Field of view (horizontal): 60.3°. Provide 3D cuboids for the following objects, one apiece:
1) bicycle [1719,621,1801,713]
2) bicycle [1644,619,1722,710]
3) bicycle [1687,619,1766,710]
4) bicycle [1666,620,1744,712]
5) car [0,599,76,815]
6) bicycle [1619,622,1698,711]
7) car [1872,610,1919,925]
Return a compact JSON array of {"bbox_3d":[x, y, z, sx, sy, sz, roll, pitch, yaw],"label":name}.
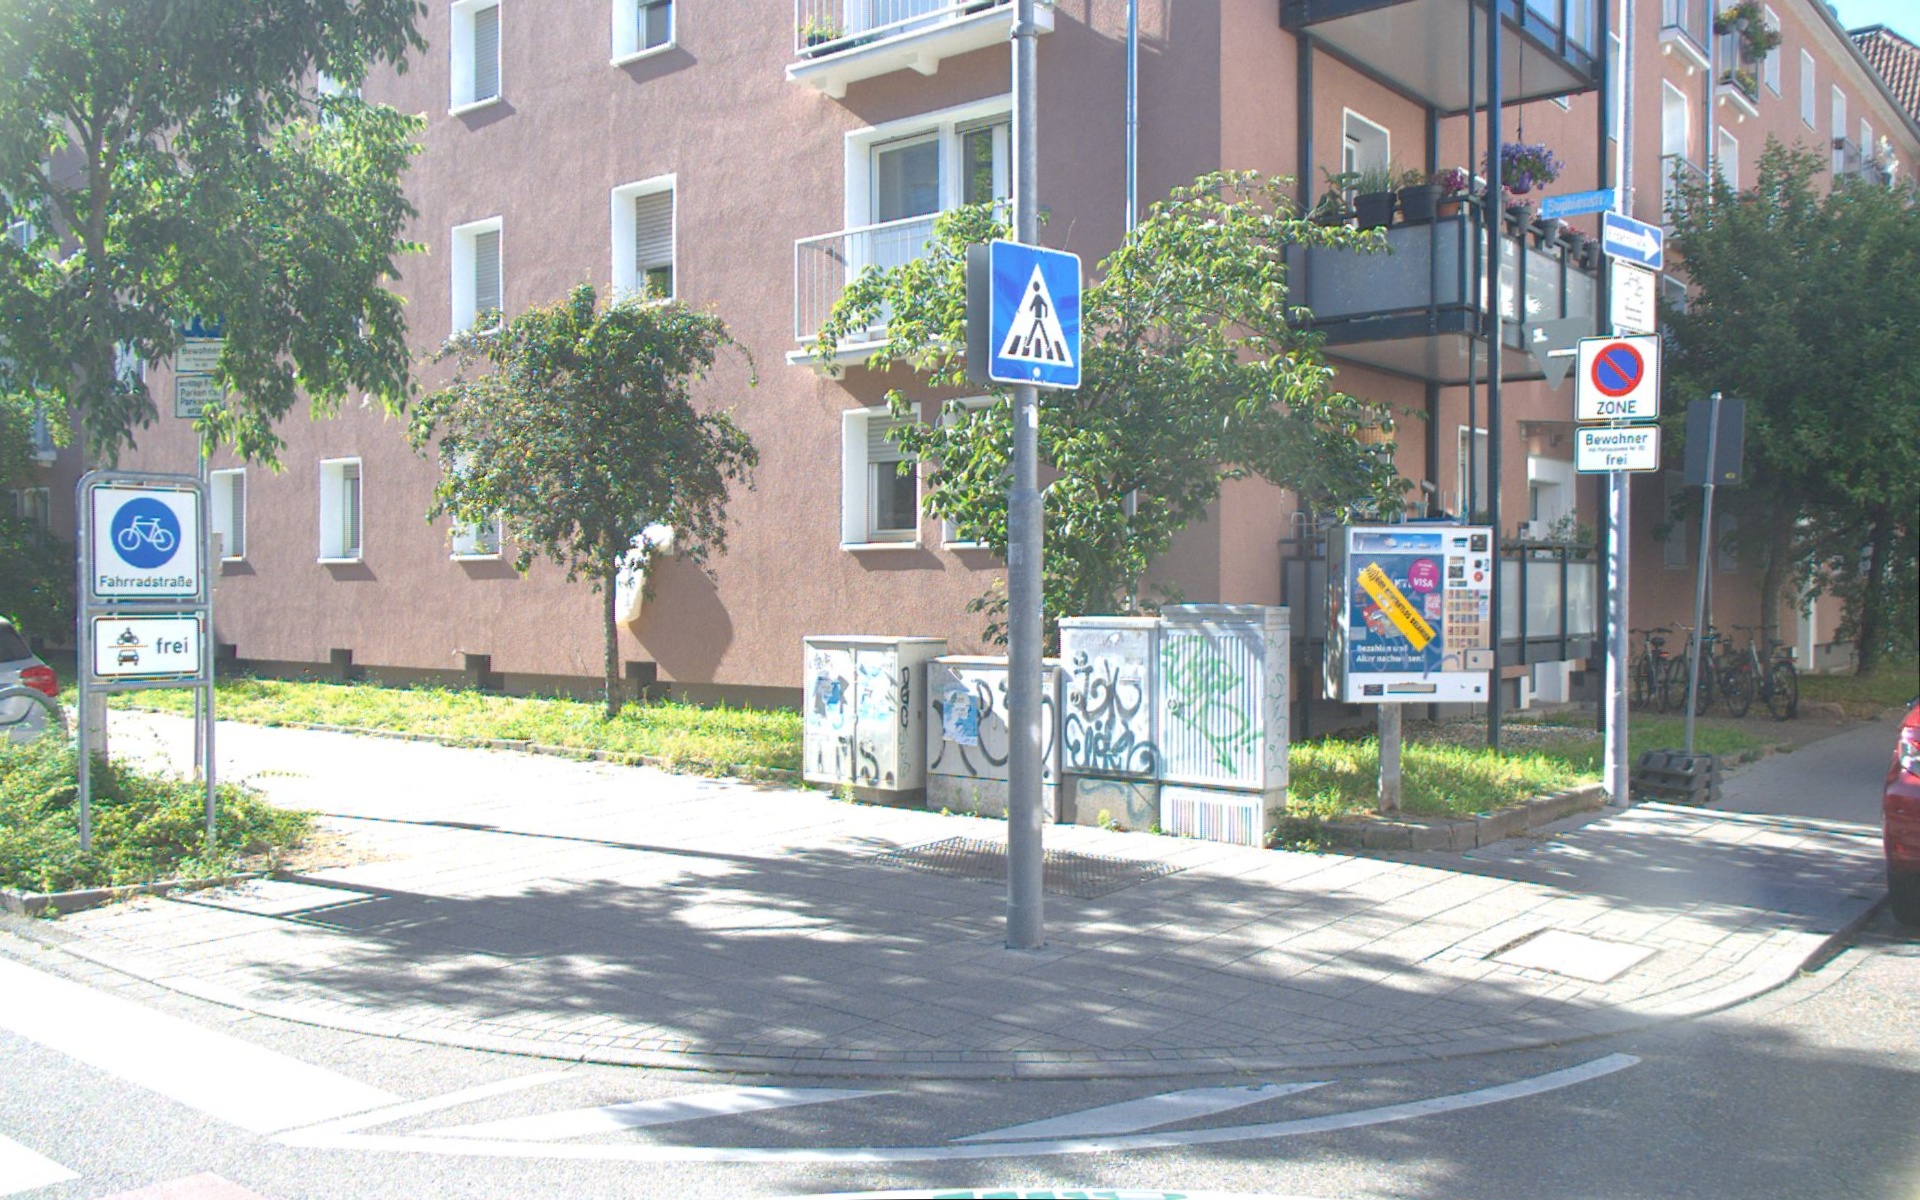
[{"bbox_3d":[9.985,0.817,20.661,0.248,1.090,1.216,0,0,-11],"label":"bicycle"},{"bbox_3d":[9.053,0.788,20.743,0.260,1.091,1.213,0,0,-11],"label":"bicycle"},{"bbox_3d":[9.647,0.795,20.857,0.248,1.090,1.213,0,0,-11],"label":"bicycle"},{"bbox_3d":[9.360,0.813,20.806,0.248,1.089,1.213,0,0,-11],"label":"bicycle"},{"bbox_3d":[-8.393,0.734,12.378,4.077,1.479,1.737,0,0,39],"label":"car"},{"bbox_3d":[8.729,0.814,20.699,0.285,1.053,1.213,0,0,-11],"label":"bicycle"},{"bbox_3d":[6.318,0.811,9.160,1.657,1.526,3.789,-1,0,38],"label":"car"}]
